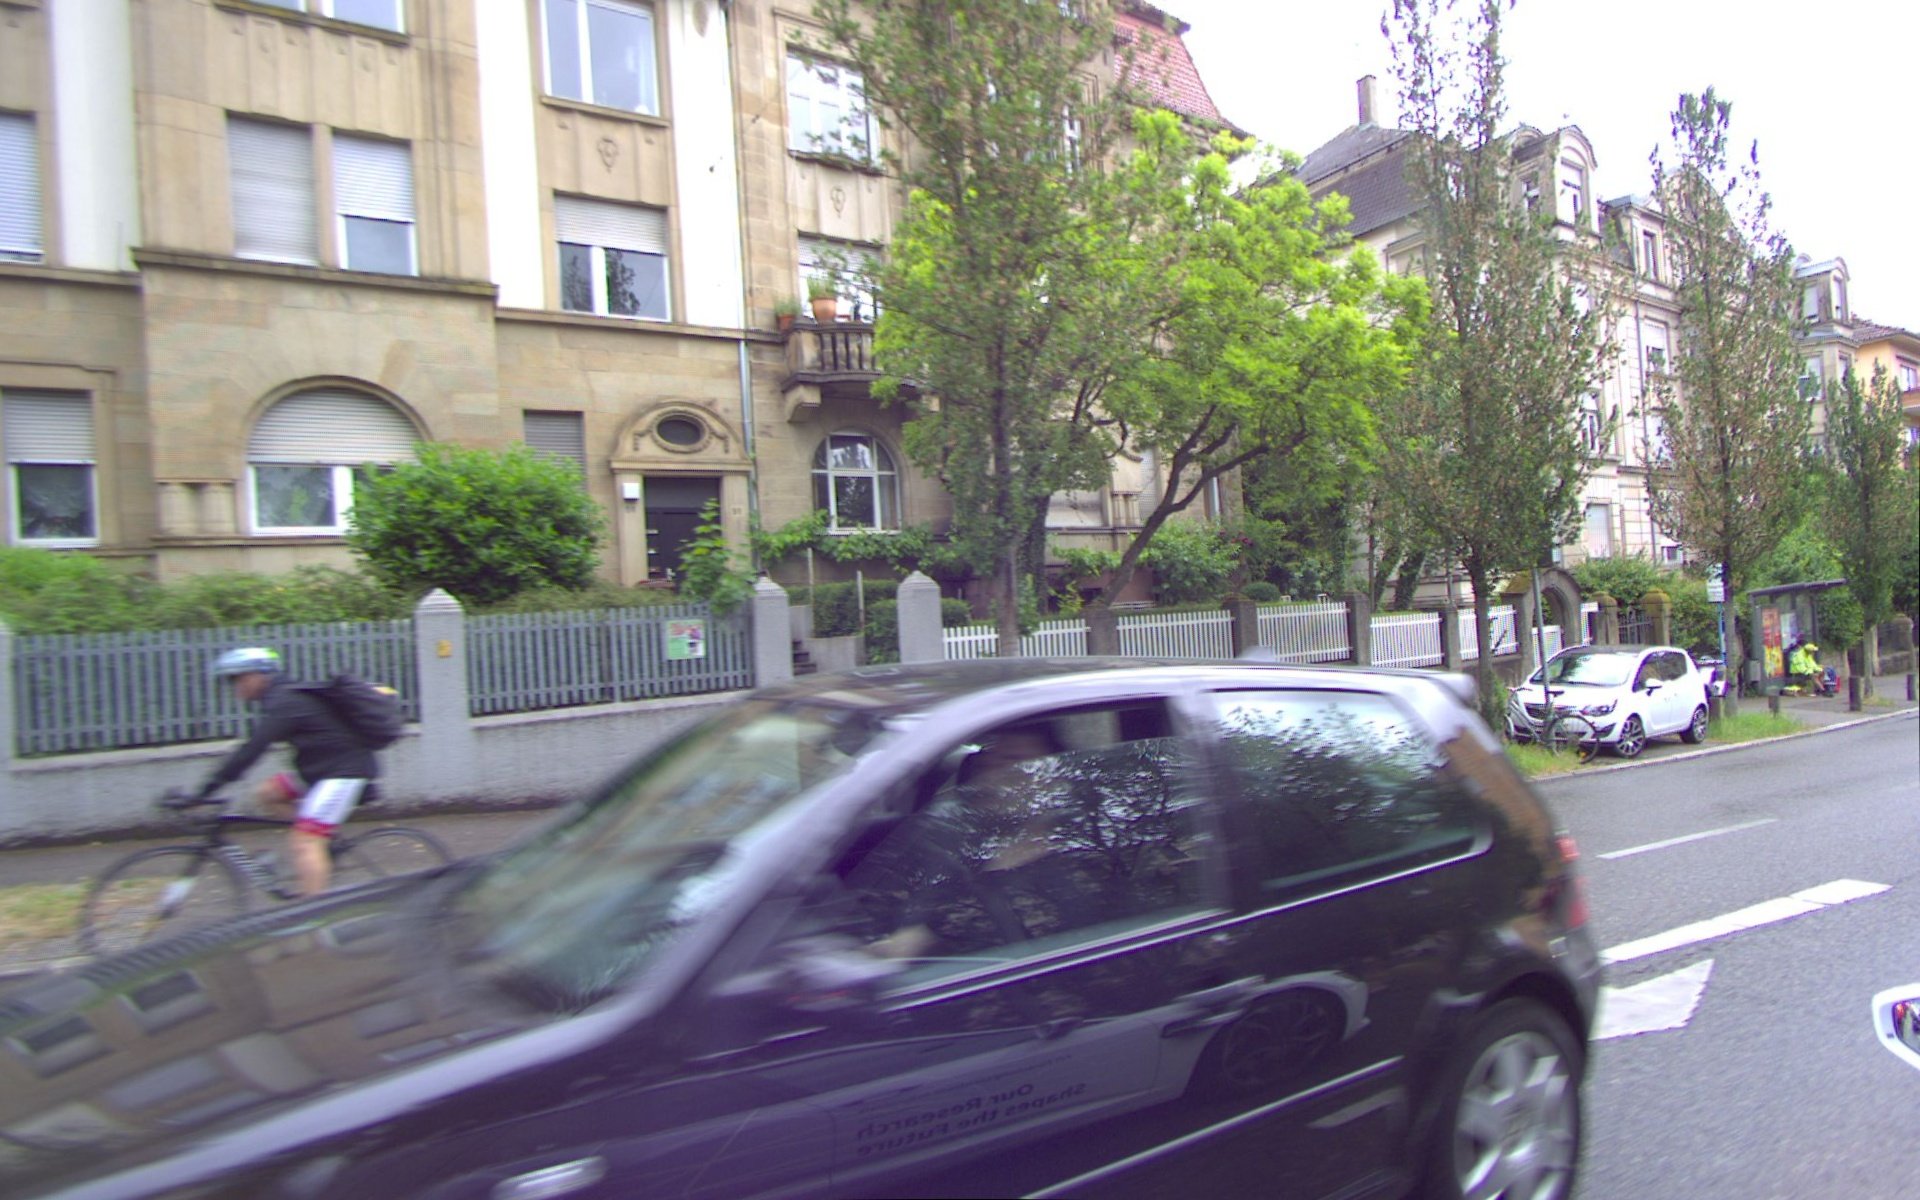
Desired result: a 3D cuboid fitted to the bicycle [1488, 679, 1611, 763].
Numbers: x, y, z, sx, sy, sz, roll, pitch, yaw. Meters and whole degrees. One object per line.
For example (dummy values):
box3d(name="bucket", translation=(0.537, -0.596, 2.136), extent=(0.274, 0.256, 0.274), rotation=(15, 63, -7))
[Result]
box3d(name="bicycle", translation=(8.478, 1.725, 14.495), extent=(0.377, 1.135, 1.453), rotation=(1, -5, -36))

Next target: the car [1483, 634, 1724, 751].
box3d(name="car", translation=(10.496, 1.455, 16.307), extent=(4.154, 1.672, 1.777), rotation=(2, -6, -35))

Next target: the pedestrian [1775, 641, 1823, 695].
box3d(name="pedestrian", translation=(21.408, 1.744, 25.644), extent=(0.606, 1.360, 0.704), rotation=(1, -5, -30))

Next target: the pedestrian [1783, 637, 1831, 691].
box3d(name="pedestrian", translation=(21.930, 1.667, 26.017), extent=(0.606, 1.360, 0.704), rotation=(1, -5, -30))

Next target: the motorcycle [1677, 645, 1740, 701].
box3d(name="motorcycle", translation=(17.331, 1.682, 23.257), extent=(1.625, 1.253, 0.557), rotation=(2, -3, -30))

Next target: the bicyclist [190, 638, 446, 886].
box3d(name="bicyclist", translation=(-3.487, 0.807, 5.471), extent=(1.074, 1.185, 0.764), rotation=(2, -4, -41))

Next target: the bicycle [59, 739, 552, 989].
box3d(name="bicycle", translation=(-3.437, 1.319, 5.482), extent=(2.138, 0.995, 0.647), rotation=(4, -5, -41))

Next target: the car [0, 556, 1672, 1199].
box3d(name="car", translation=(-0.142, 0.773, 2.427), extent=(3.949, 1.467, 1.652), rotation=(3, -3, -32))

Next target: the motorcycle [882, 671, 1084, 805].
box3d(name="motorcycle", translation=(0.278, 1.323, 10.112), extent=(2.138, 1.136, 0.647), rotation=(2, 0, -41))
